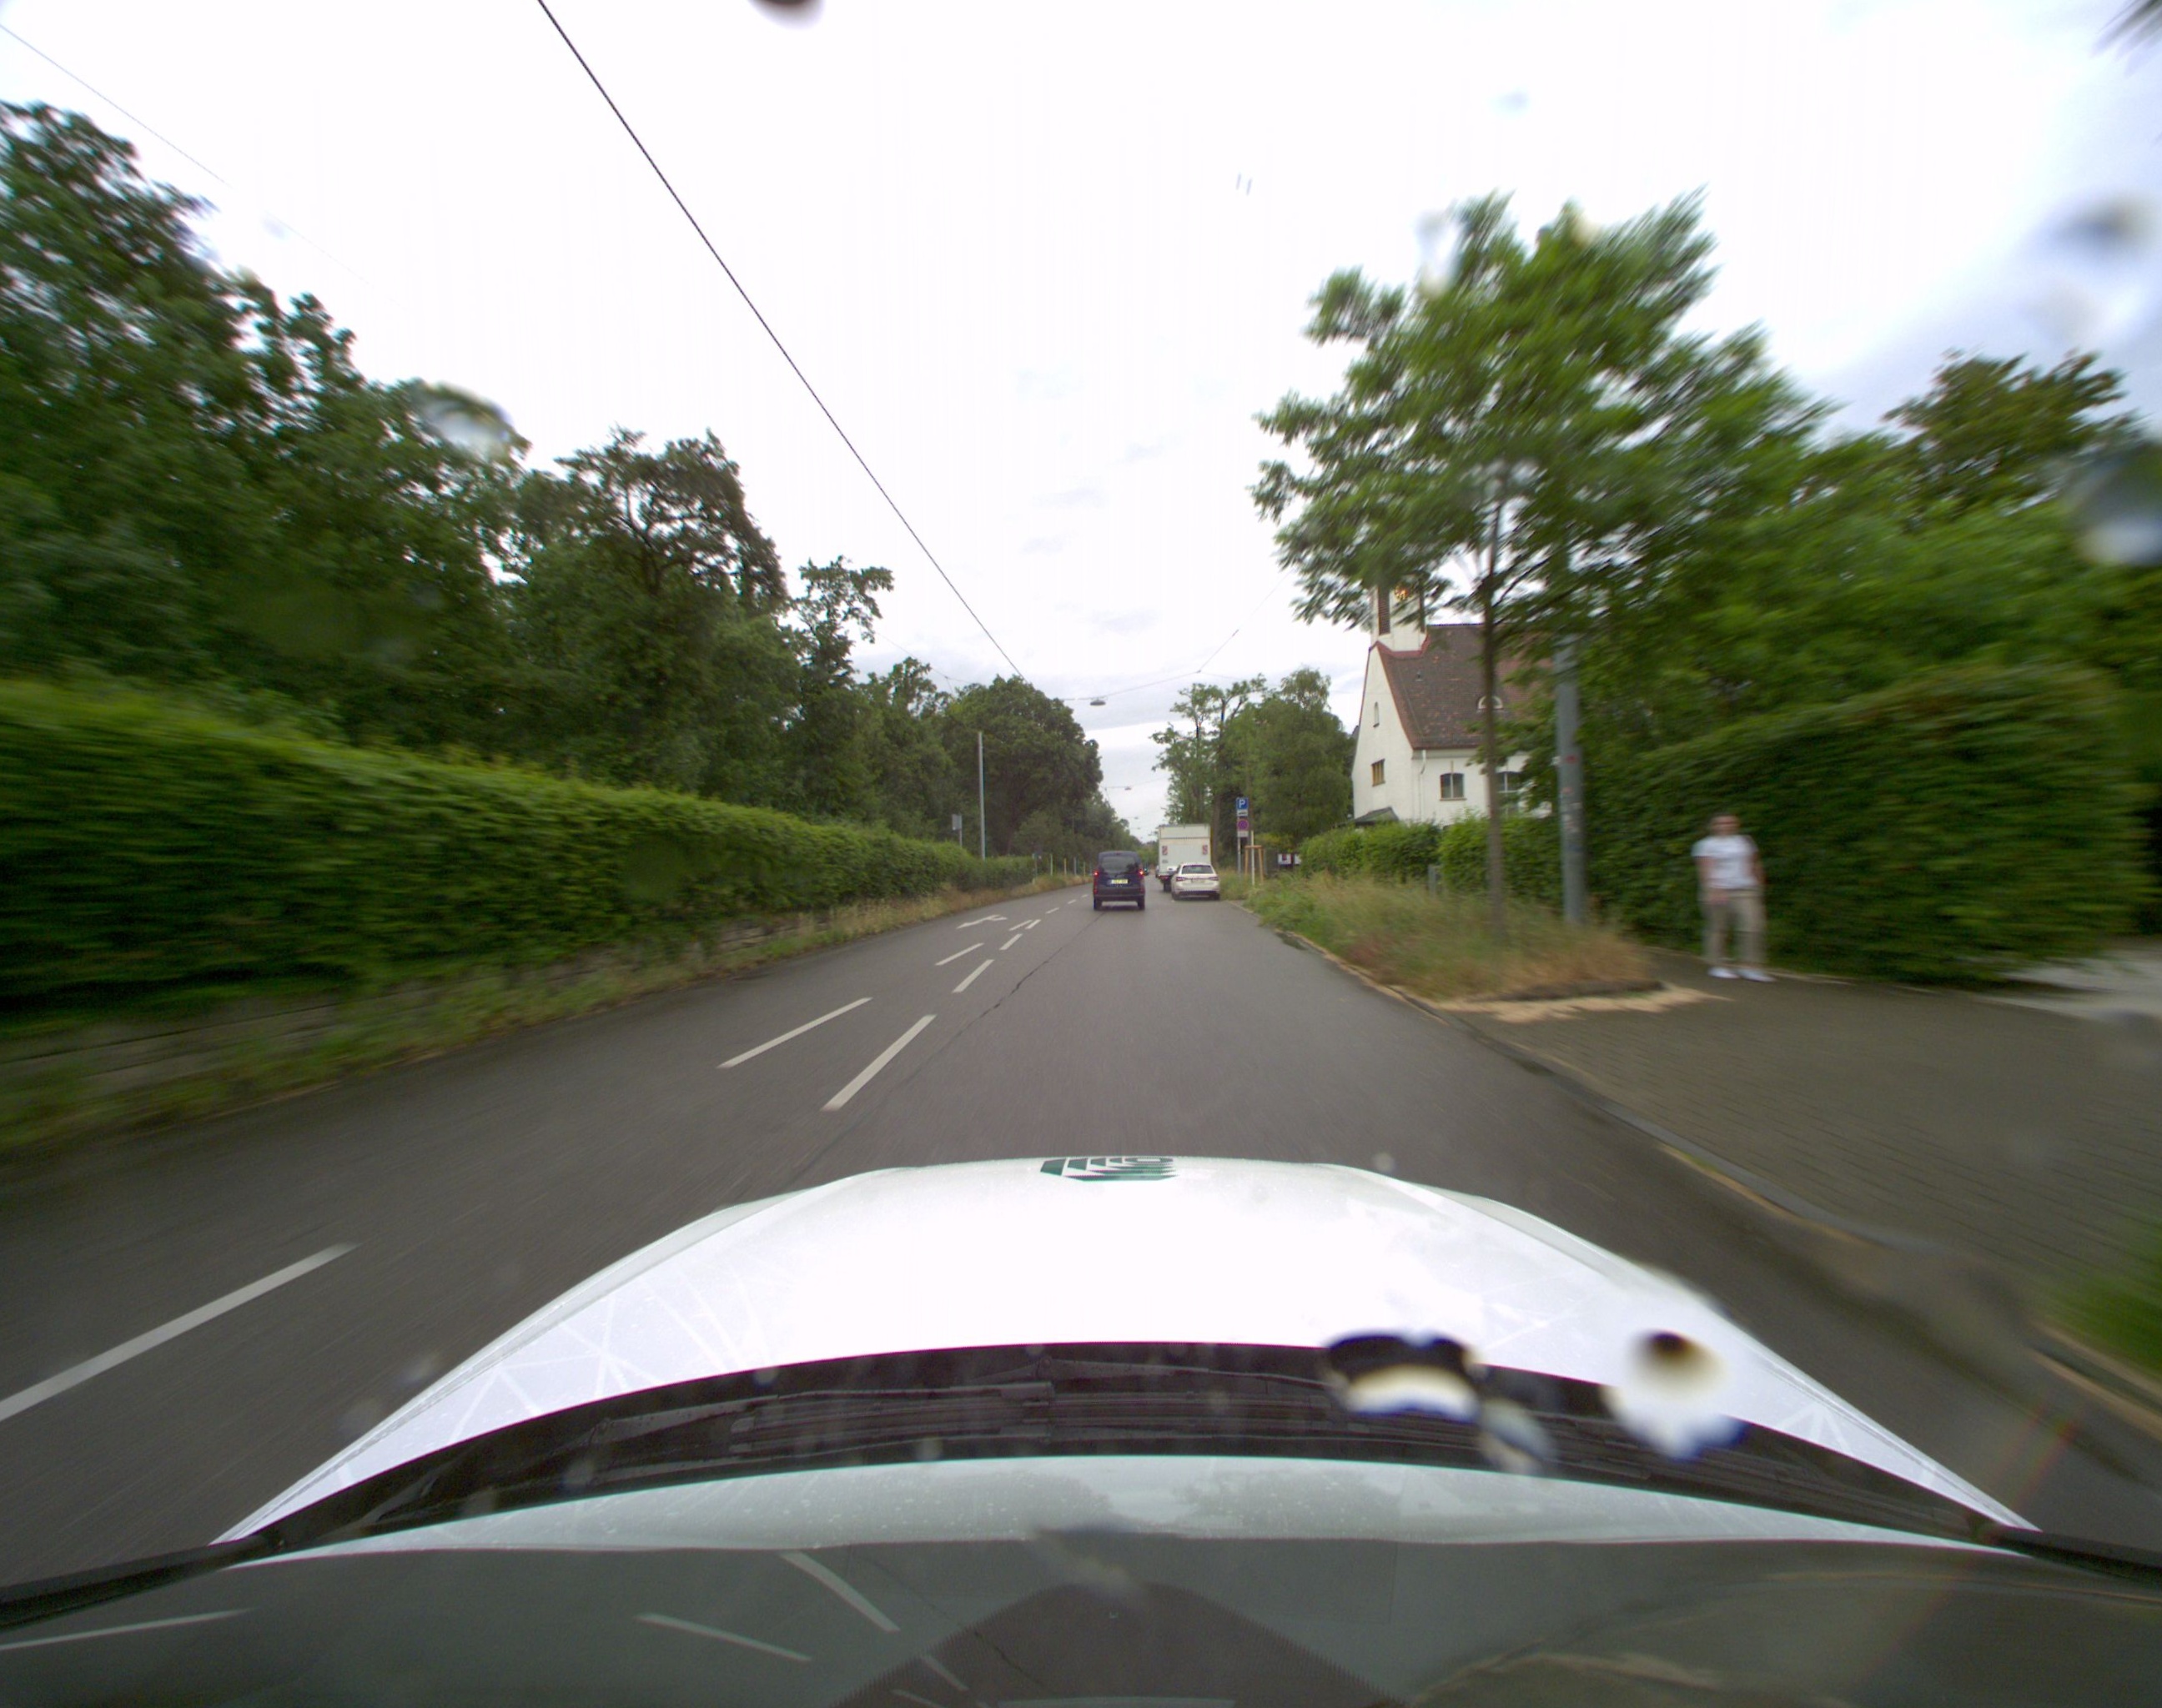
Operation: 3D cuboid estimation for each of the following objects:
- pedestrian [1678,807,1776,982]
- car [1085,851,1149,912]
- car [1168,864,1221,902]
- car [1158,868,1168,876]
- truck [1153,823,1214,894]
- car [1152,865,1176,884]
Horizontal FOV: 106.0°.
[{"bbox_3d":[6.532,0.402,8.254,0.557,1.708,0.518,-2,-1,13],"label":"pedestrian"},{"bbox_3d":[1.105,0.867,26.733,1.803,1.797,3.998,-2,-1,-1],"label":"car"},{"bbox_3d":[4.525,1.124,32.926,1.805,1.380,4.290,-2,-1,4],"label":"car"},{"bbox_3d":[17.406,3.755,172.047,1.984,1.585,4.005,-2,-1,5],"label":"car"},{"bbox_3d":[5.379,0.249,43.652,2.720,3.387,6.691,-2,-1,4],"label":"truck"},{"bbox_3d":[7.348,1.779,72.228,1.984,1.585,4.005,-2,-1,5],"label":"car"}]
